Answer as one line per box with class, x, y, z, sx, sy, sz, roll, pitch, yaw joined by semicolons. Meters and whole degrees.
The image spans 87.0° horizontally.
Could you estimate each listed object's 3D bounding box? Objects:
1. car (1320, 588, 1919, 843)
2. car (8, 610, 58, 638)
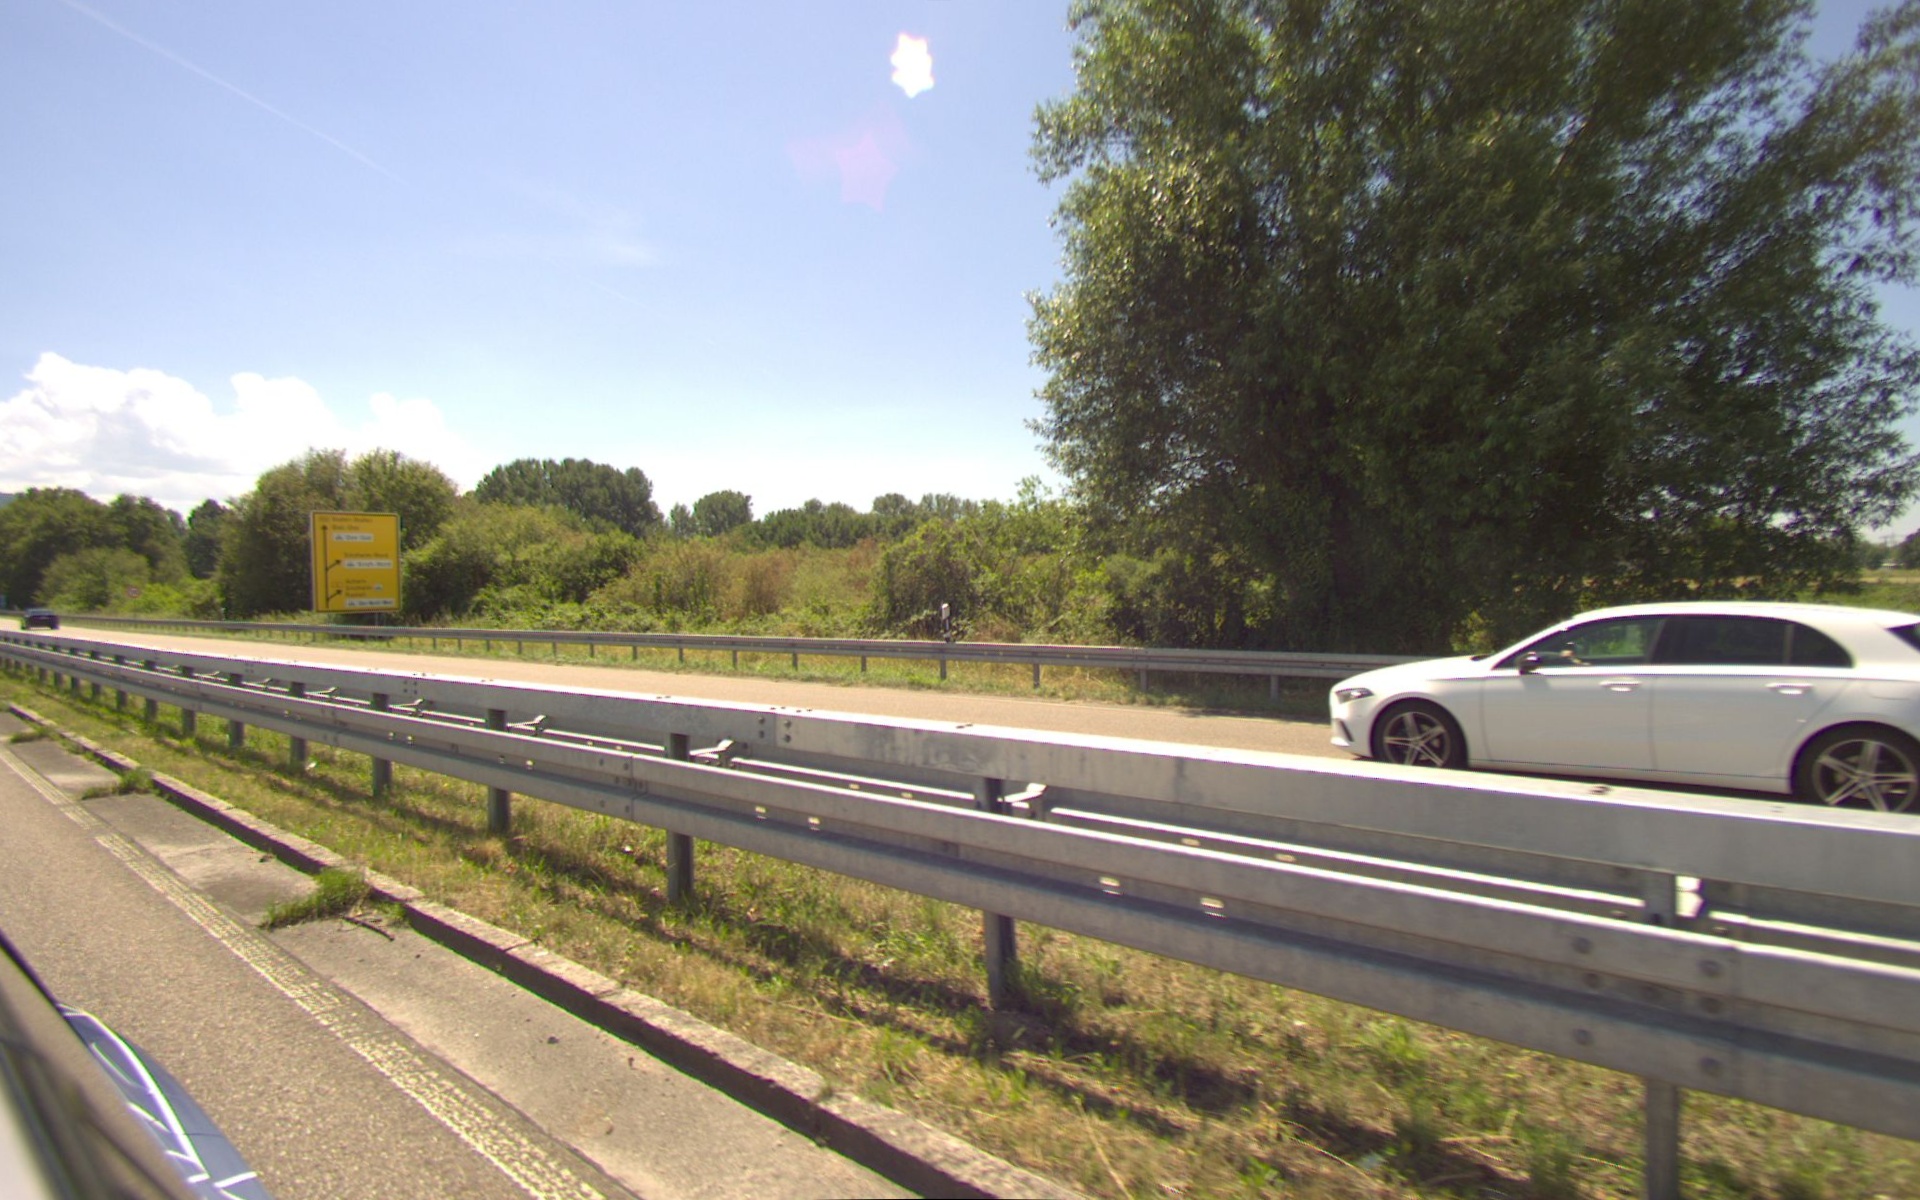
car;5.179;0.711;7.880;4.100;1.509;1.808;-1;1;41
car;-62.865;1.617;68.615;4.872;1.649;1.973;-1;2;42
